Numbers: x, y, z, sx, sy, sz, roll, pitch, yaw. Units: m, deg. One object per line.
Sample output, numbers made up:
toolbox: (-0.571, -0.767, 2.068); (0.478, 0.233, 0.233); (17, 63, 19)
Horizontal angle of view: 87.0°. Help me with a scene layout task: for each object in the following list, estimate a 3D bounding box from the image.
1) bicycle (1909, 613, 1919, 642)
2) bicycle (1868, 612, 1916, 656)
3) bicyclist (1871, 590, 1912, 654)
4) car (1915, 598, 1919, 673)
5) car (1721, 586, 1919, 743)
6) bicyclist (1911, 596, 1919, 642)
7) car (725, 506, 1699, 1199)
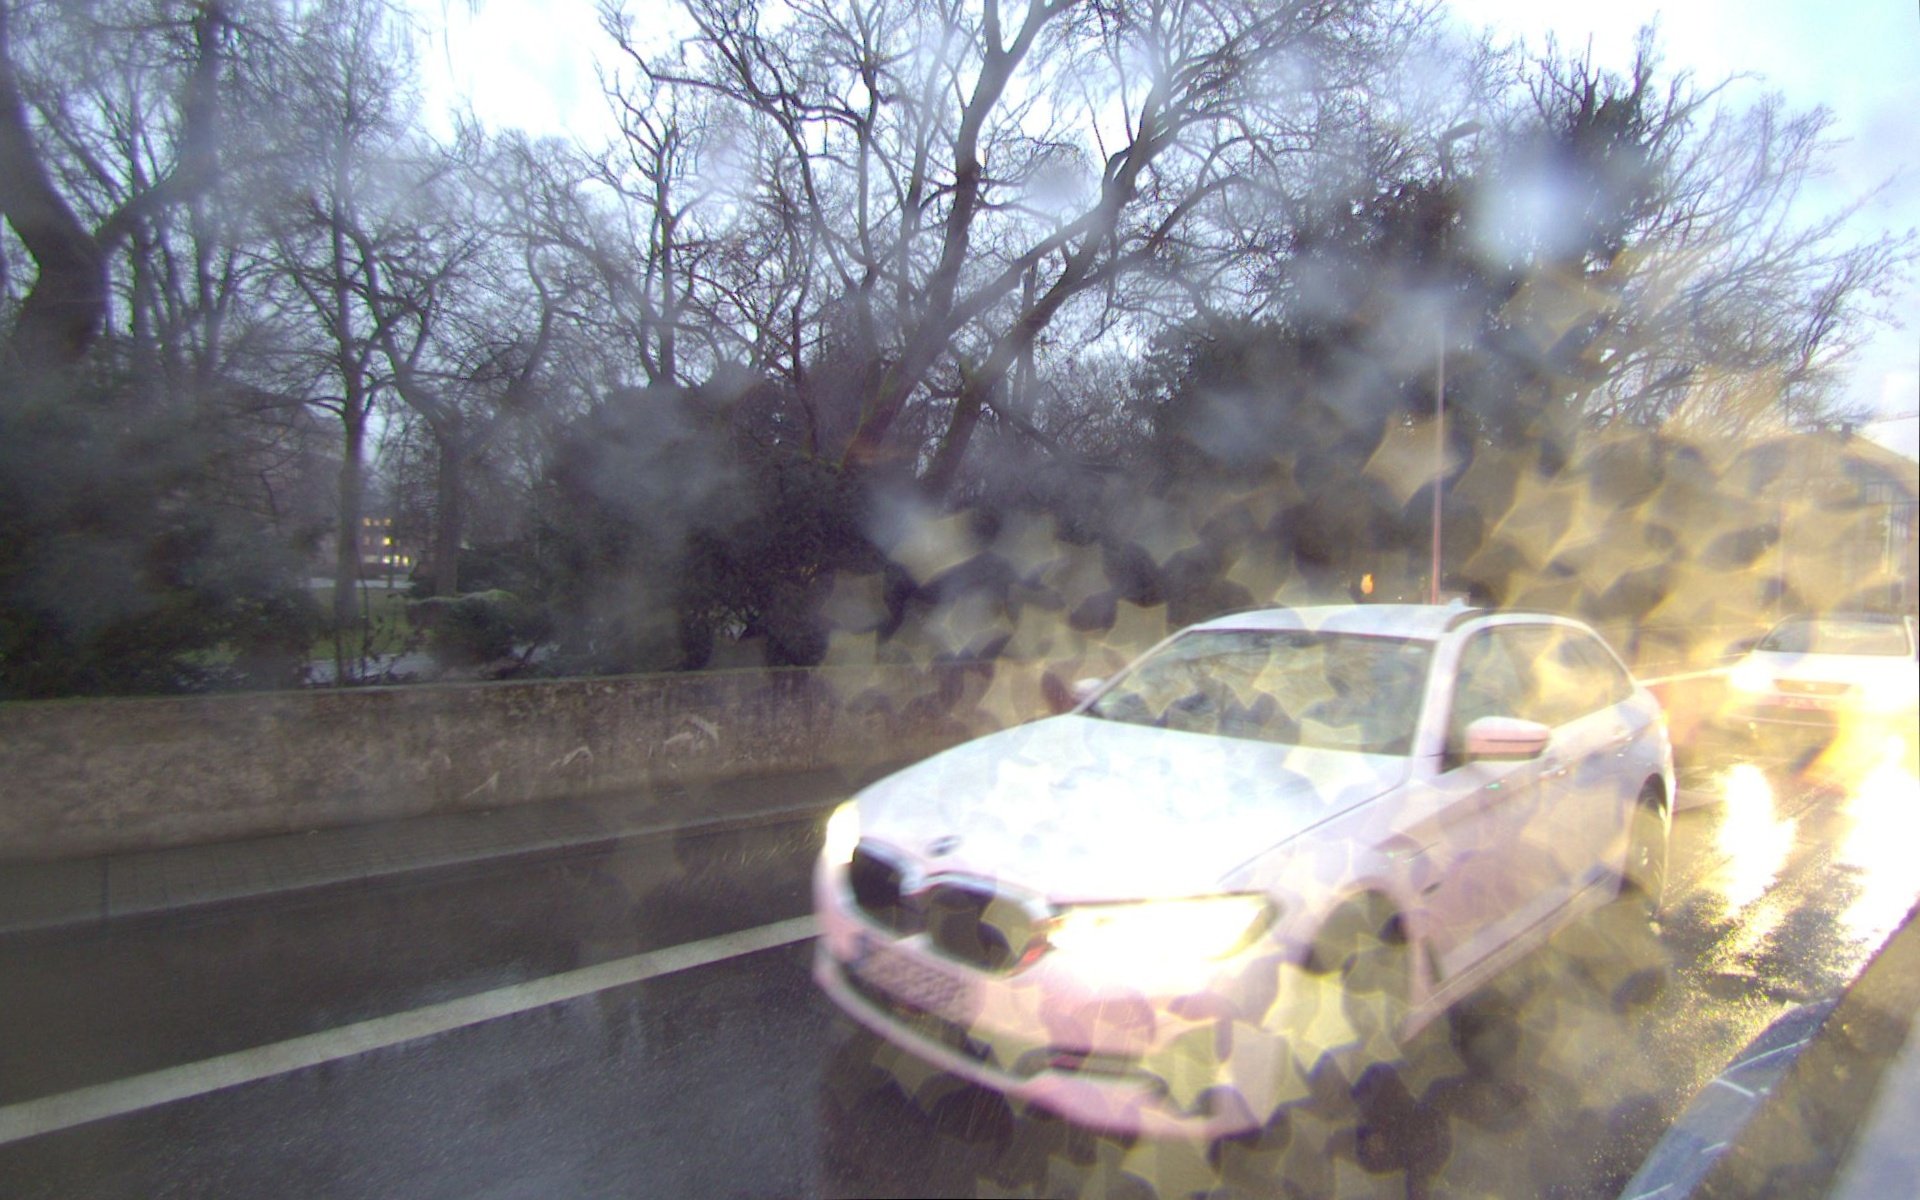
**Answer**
bicycle: (36.047, 1.014, 37.796); (1.691, 1.055, 0.691); (0, 0, -41)
bicycle: (33.361, 1.172, 36.203); (3.331, 1.469, 0.966); (0, 0, -42)
bicyclist: (33.261, 0.780, 36.127); (0.919, 2.251, 0.966); (0, -1, -41)
car: (23.072, 0.764, 22.744); (4.196, 1.648, 2.070); (0, 0, -43)
car: (11.035, 0.675, 12.383); (4.097, 1.580, 1.885); (0, 2, -41)
bicyclist: (36.020, 0.699, 37.774); (0.582, 1.706, 0.691); (0, -1, -41)
car: (1.595, 0.568, 4.441); (4.857, 1.575, 1.864); (0, 2, -44)
